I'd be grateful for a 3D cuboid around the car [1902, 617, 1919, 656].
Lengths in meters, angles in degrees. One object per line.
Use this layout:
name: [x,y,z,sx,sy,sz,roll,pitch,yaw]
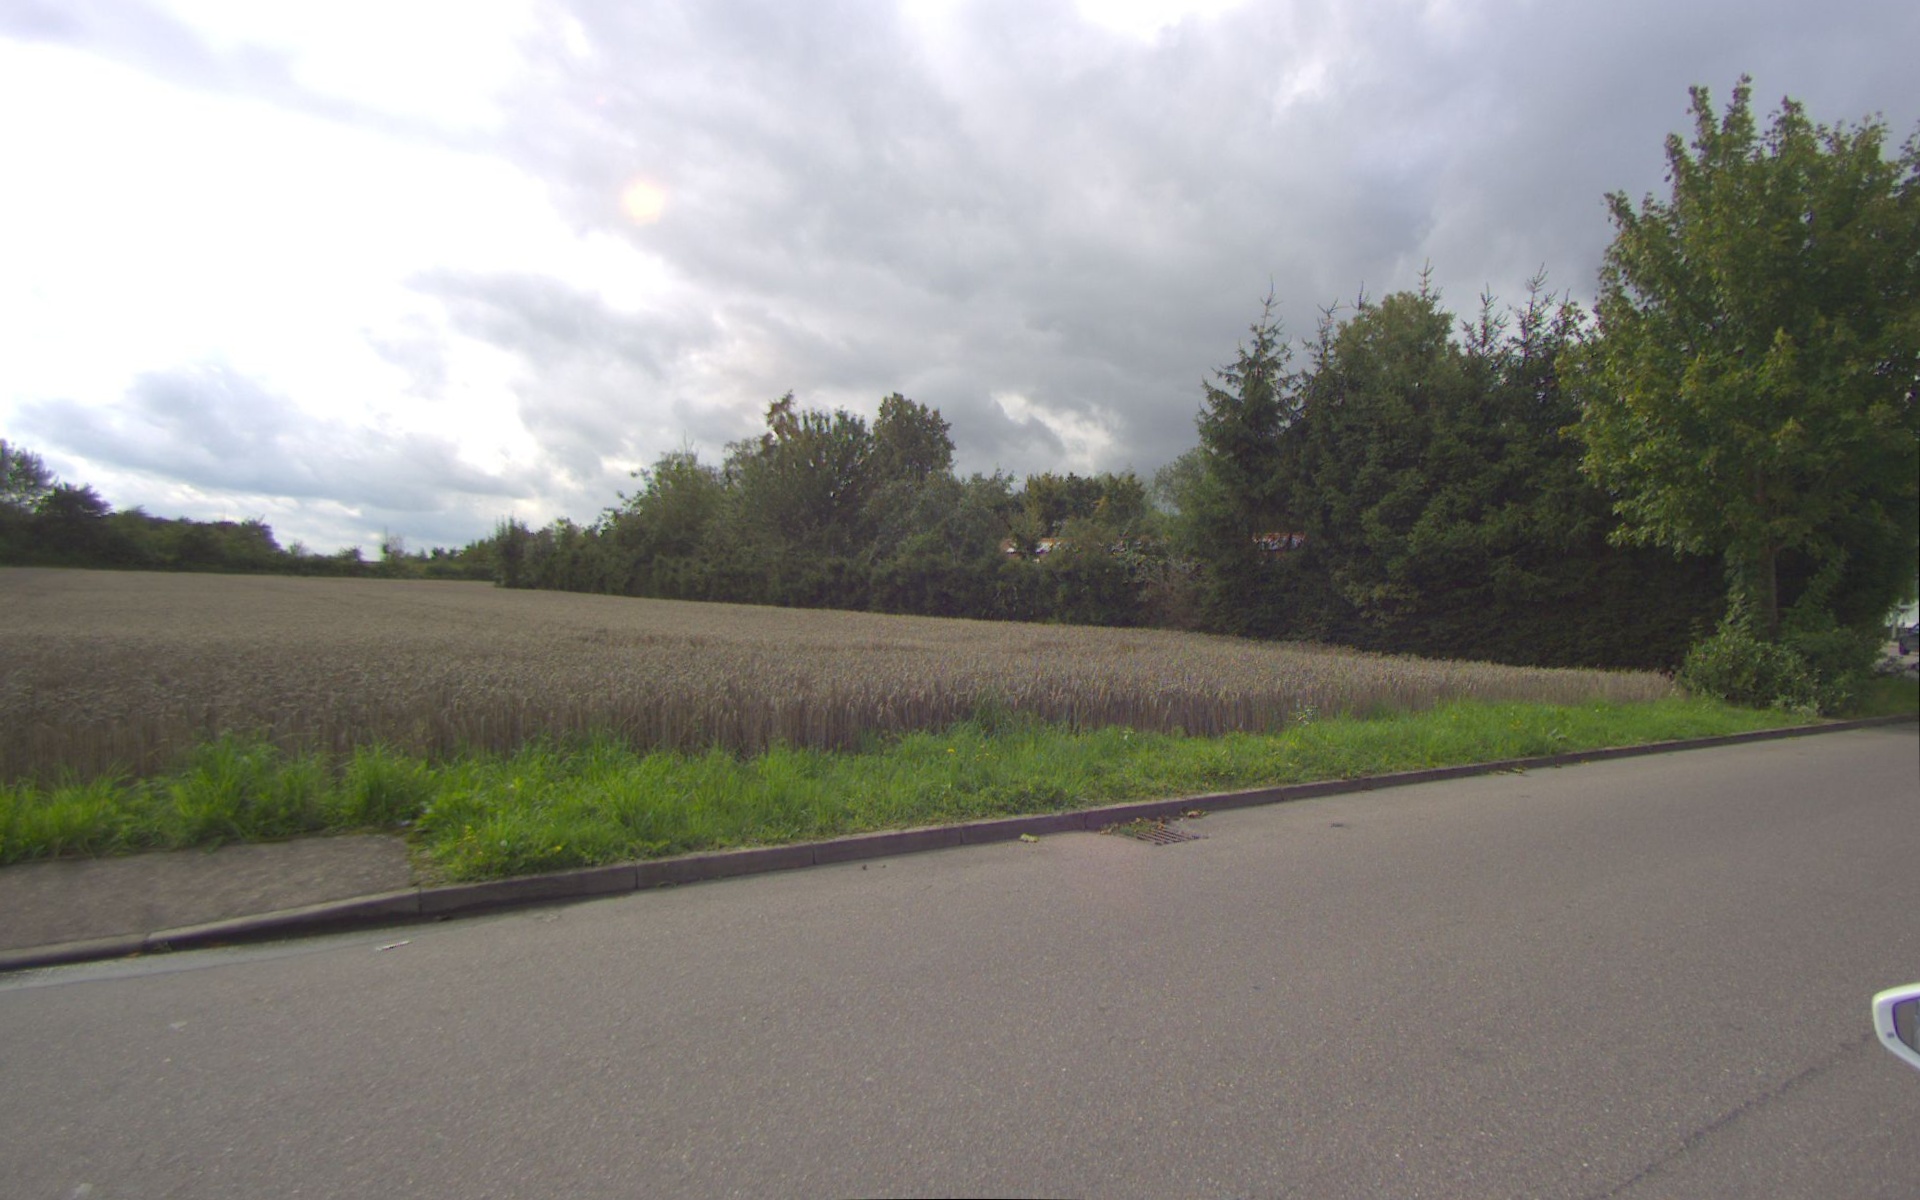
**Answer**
car: [41.916,1.594,42.972,1.969,1.573,3.983,3,1,38]
